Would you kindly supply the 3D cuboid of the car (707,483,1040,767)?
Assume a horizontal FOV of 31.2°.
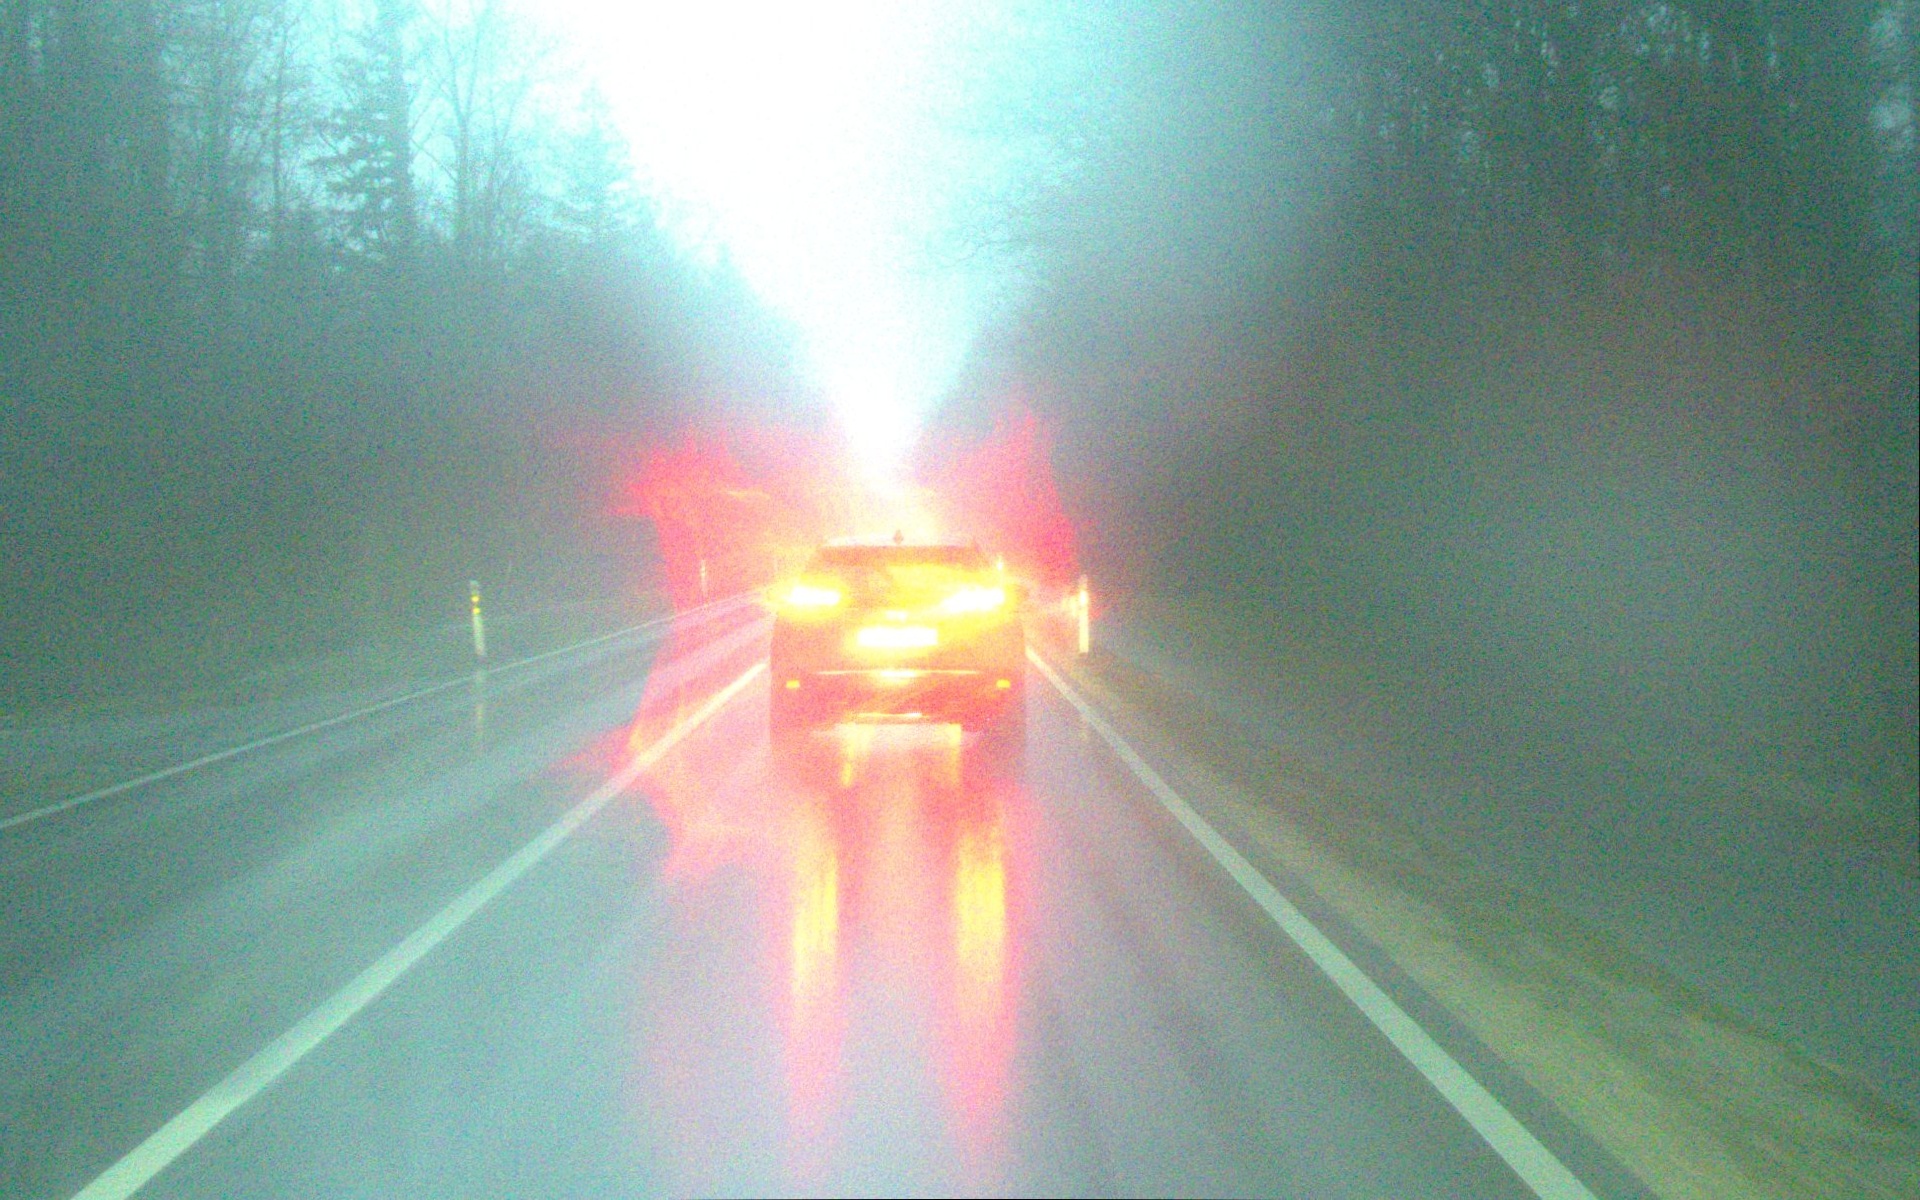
[{"bbox_3d":[-0.620,0.128,25.290,2.198,1.871,4.827,1,1,-1],"label":"car"}]
